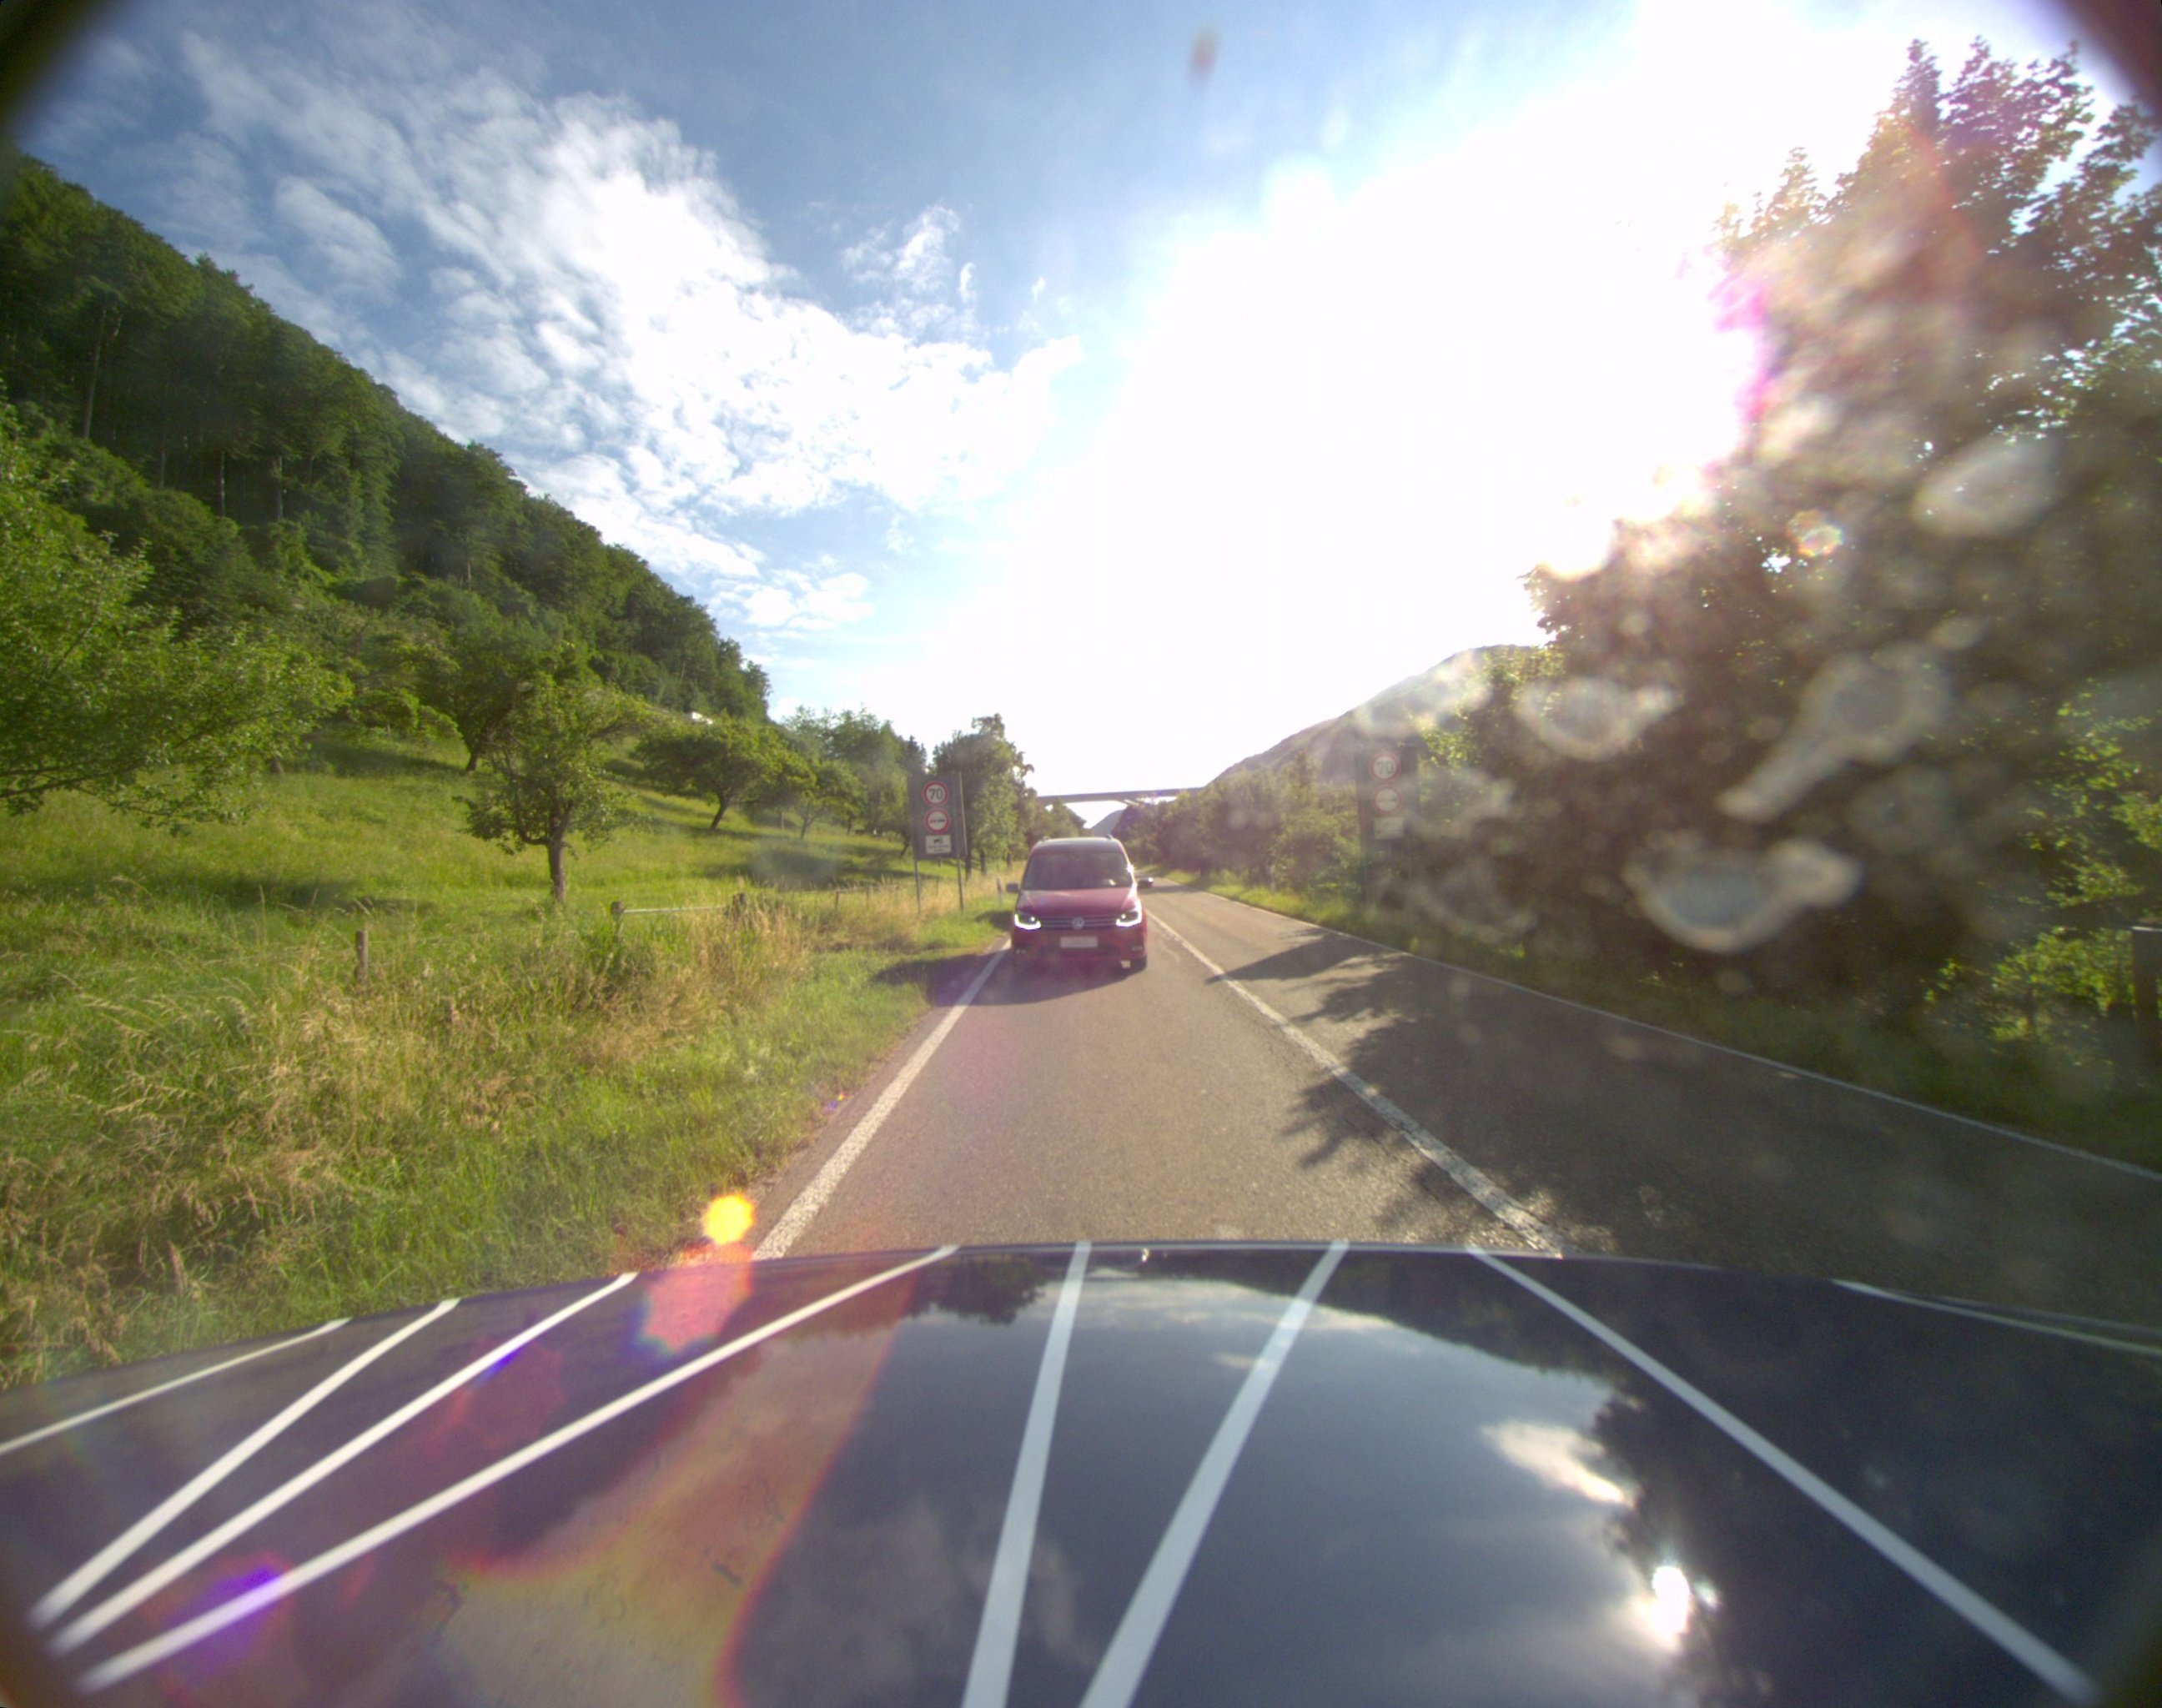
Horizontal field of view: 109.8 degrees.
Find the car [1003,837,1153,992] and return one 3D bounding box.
[{"bbox_3d":[-0.052,0.729,11.060,1.741,1.803,4.000,-1,0,0],"label":"car"}]
